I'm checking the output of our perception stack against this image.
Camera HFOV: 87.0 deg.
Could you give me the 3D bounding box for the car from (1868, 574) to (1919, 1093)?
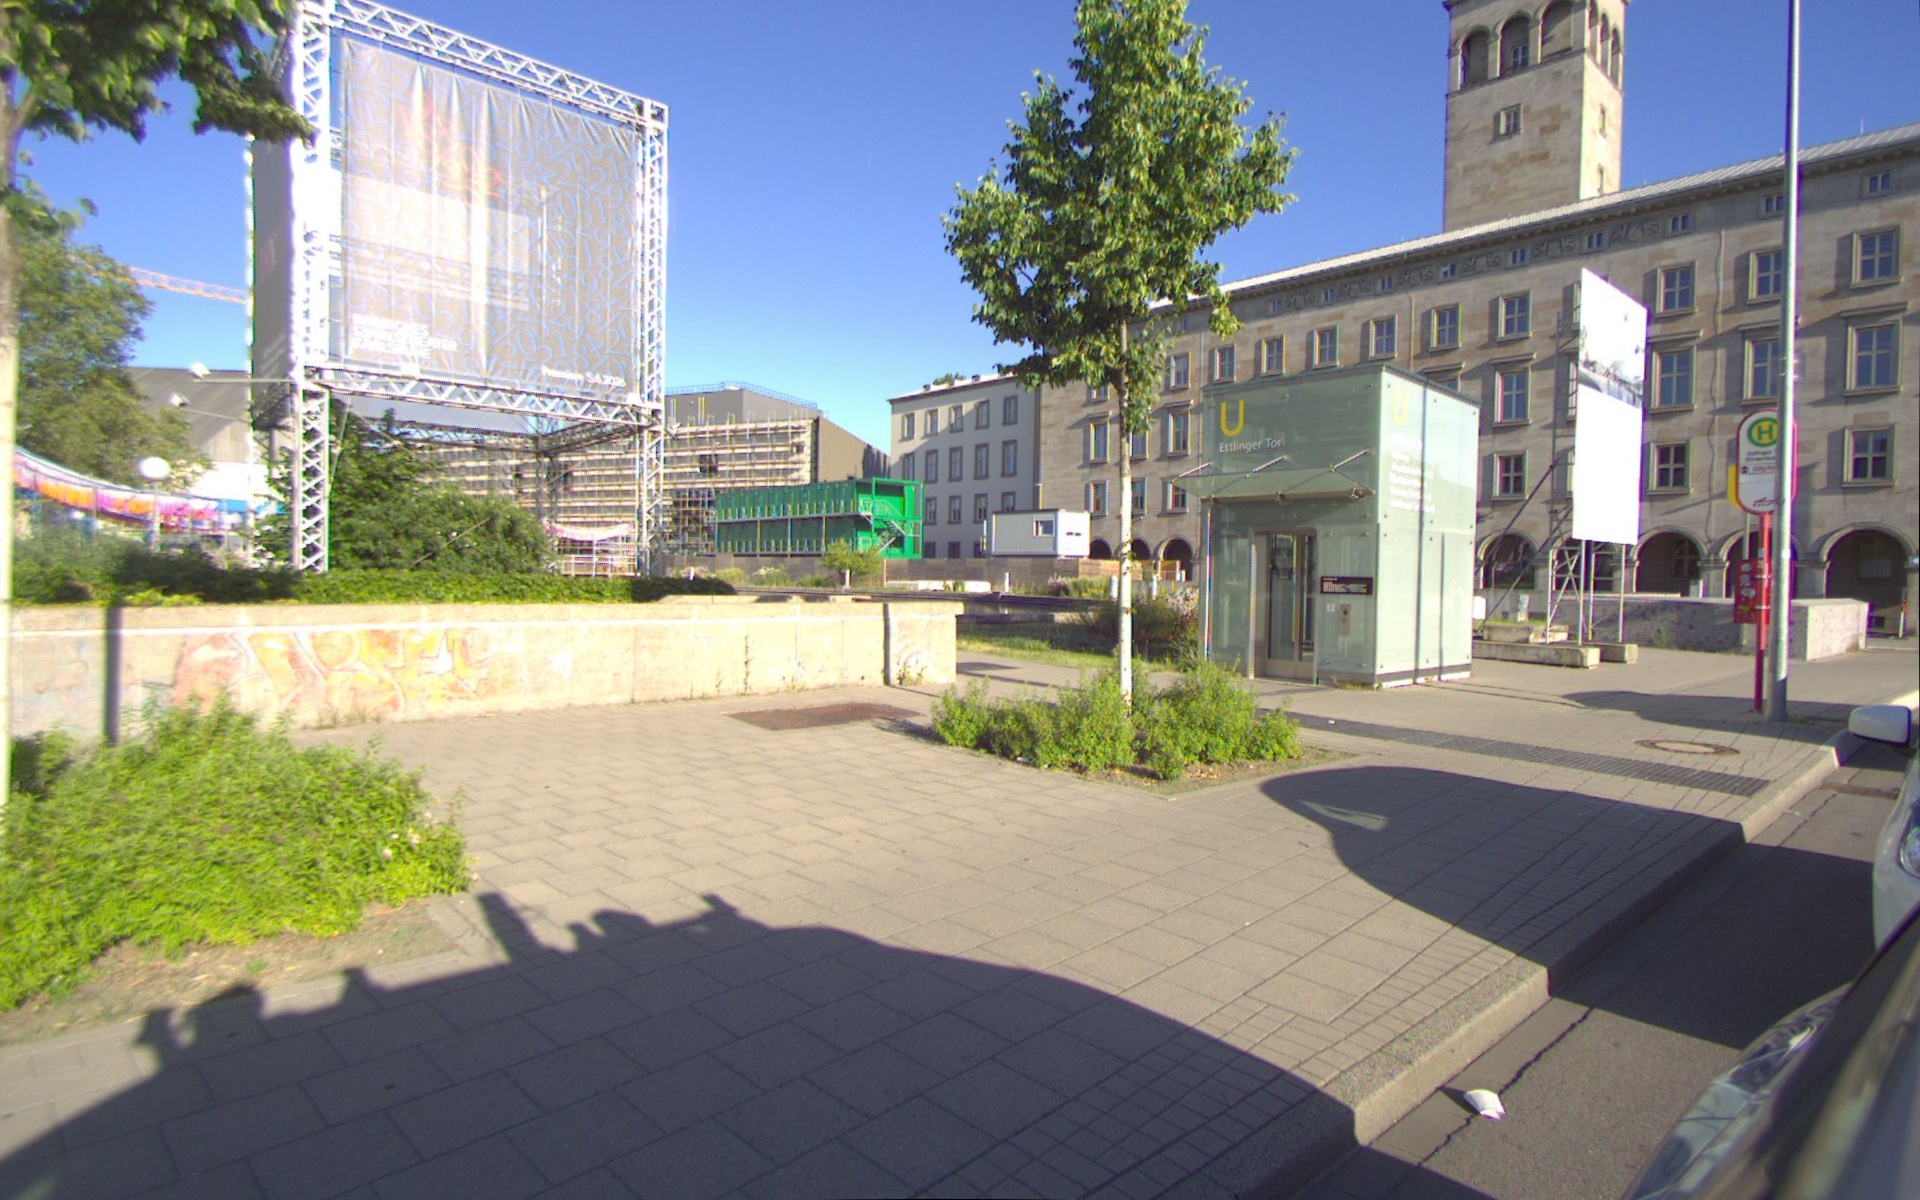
[{"bbox_3d":[4.642,0.680,3.663,3.930,1.473,1.518,0,2,-41],"label":"car"}]
